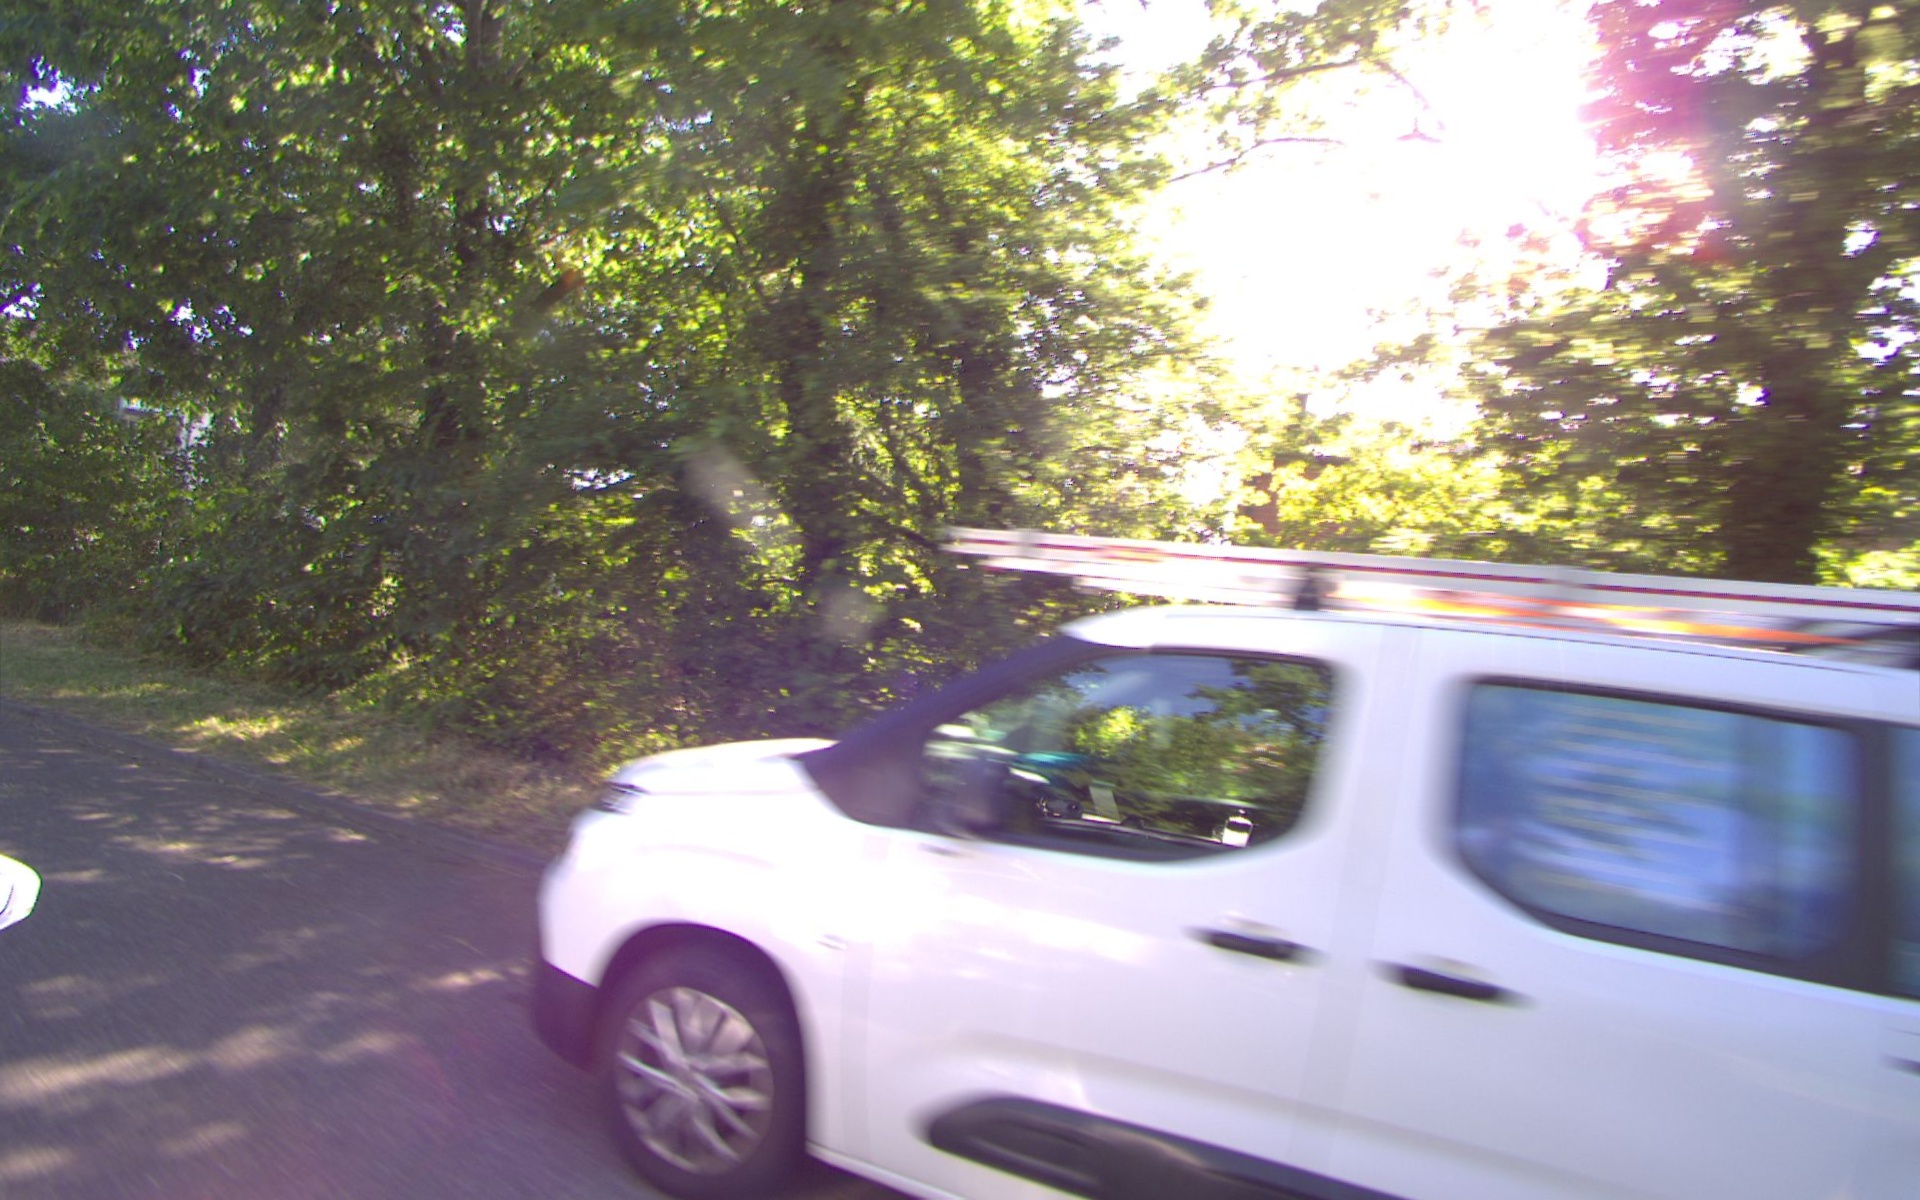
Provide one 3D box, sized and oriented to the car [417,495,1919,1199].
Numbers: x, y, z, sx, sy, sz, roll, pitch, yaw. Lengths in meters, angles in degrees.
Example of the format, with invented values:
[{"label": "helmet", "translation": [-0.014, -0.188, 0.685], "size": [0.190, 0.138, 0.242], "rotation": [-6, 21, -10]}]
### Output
[{"label": "car", "translation": [0.970, 0.914, 2.892], "size": [4.548, 1.768, 1.757], "rotation": [7, -3, 21]}]
